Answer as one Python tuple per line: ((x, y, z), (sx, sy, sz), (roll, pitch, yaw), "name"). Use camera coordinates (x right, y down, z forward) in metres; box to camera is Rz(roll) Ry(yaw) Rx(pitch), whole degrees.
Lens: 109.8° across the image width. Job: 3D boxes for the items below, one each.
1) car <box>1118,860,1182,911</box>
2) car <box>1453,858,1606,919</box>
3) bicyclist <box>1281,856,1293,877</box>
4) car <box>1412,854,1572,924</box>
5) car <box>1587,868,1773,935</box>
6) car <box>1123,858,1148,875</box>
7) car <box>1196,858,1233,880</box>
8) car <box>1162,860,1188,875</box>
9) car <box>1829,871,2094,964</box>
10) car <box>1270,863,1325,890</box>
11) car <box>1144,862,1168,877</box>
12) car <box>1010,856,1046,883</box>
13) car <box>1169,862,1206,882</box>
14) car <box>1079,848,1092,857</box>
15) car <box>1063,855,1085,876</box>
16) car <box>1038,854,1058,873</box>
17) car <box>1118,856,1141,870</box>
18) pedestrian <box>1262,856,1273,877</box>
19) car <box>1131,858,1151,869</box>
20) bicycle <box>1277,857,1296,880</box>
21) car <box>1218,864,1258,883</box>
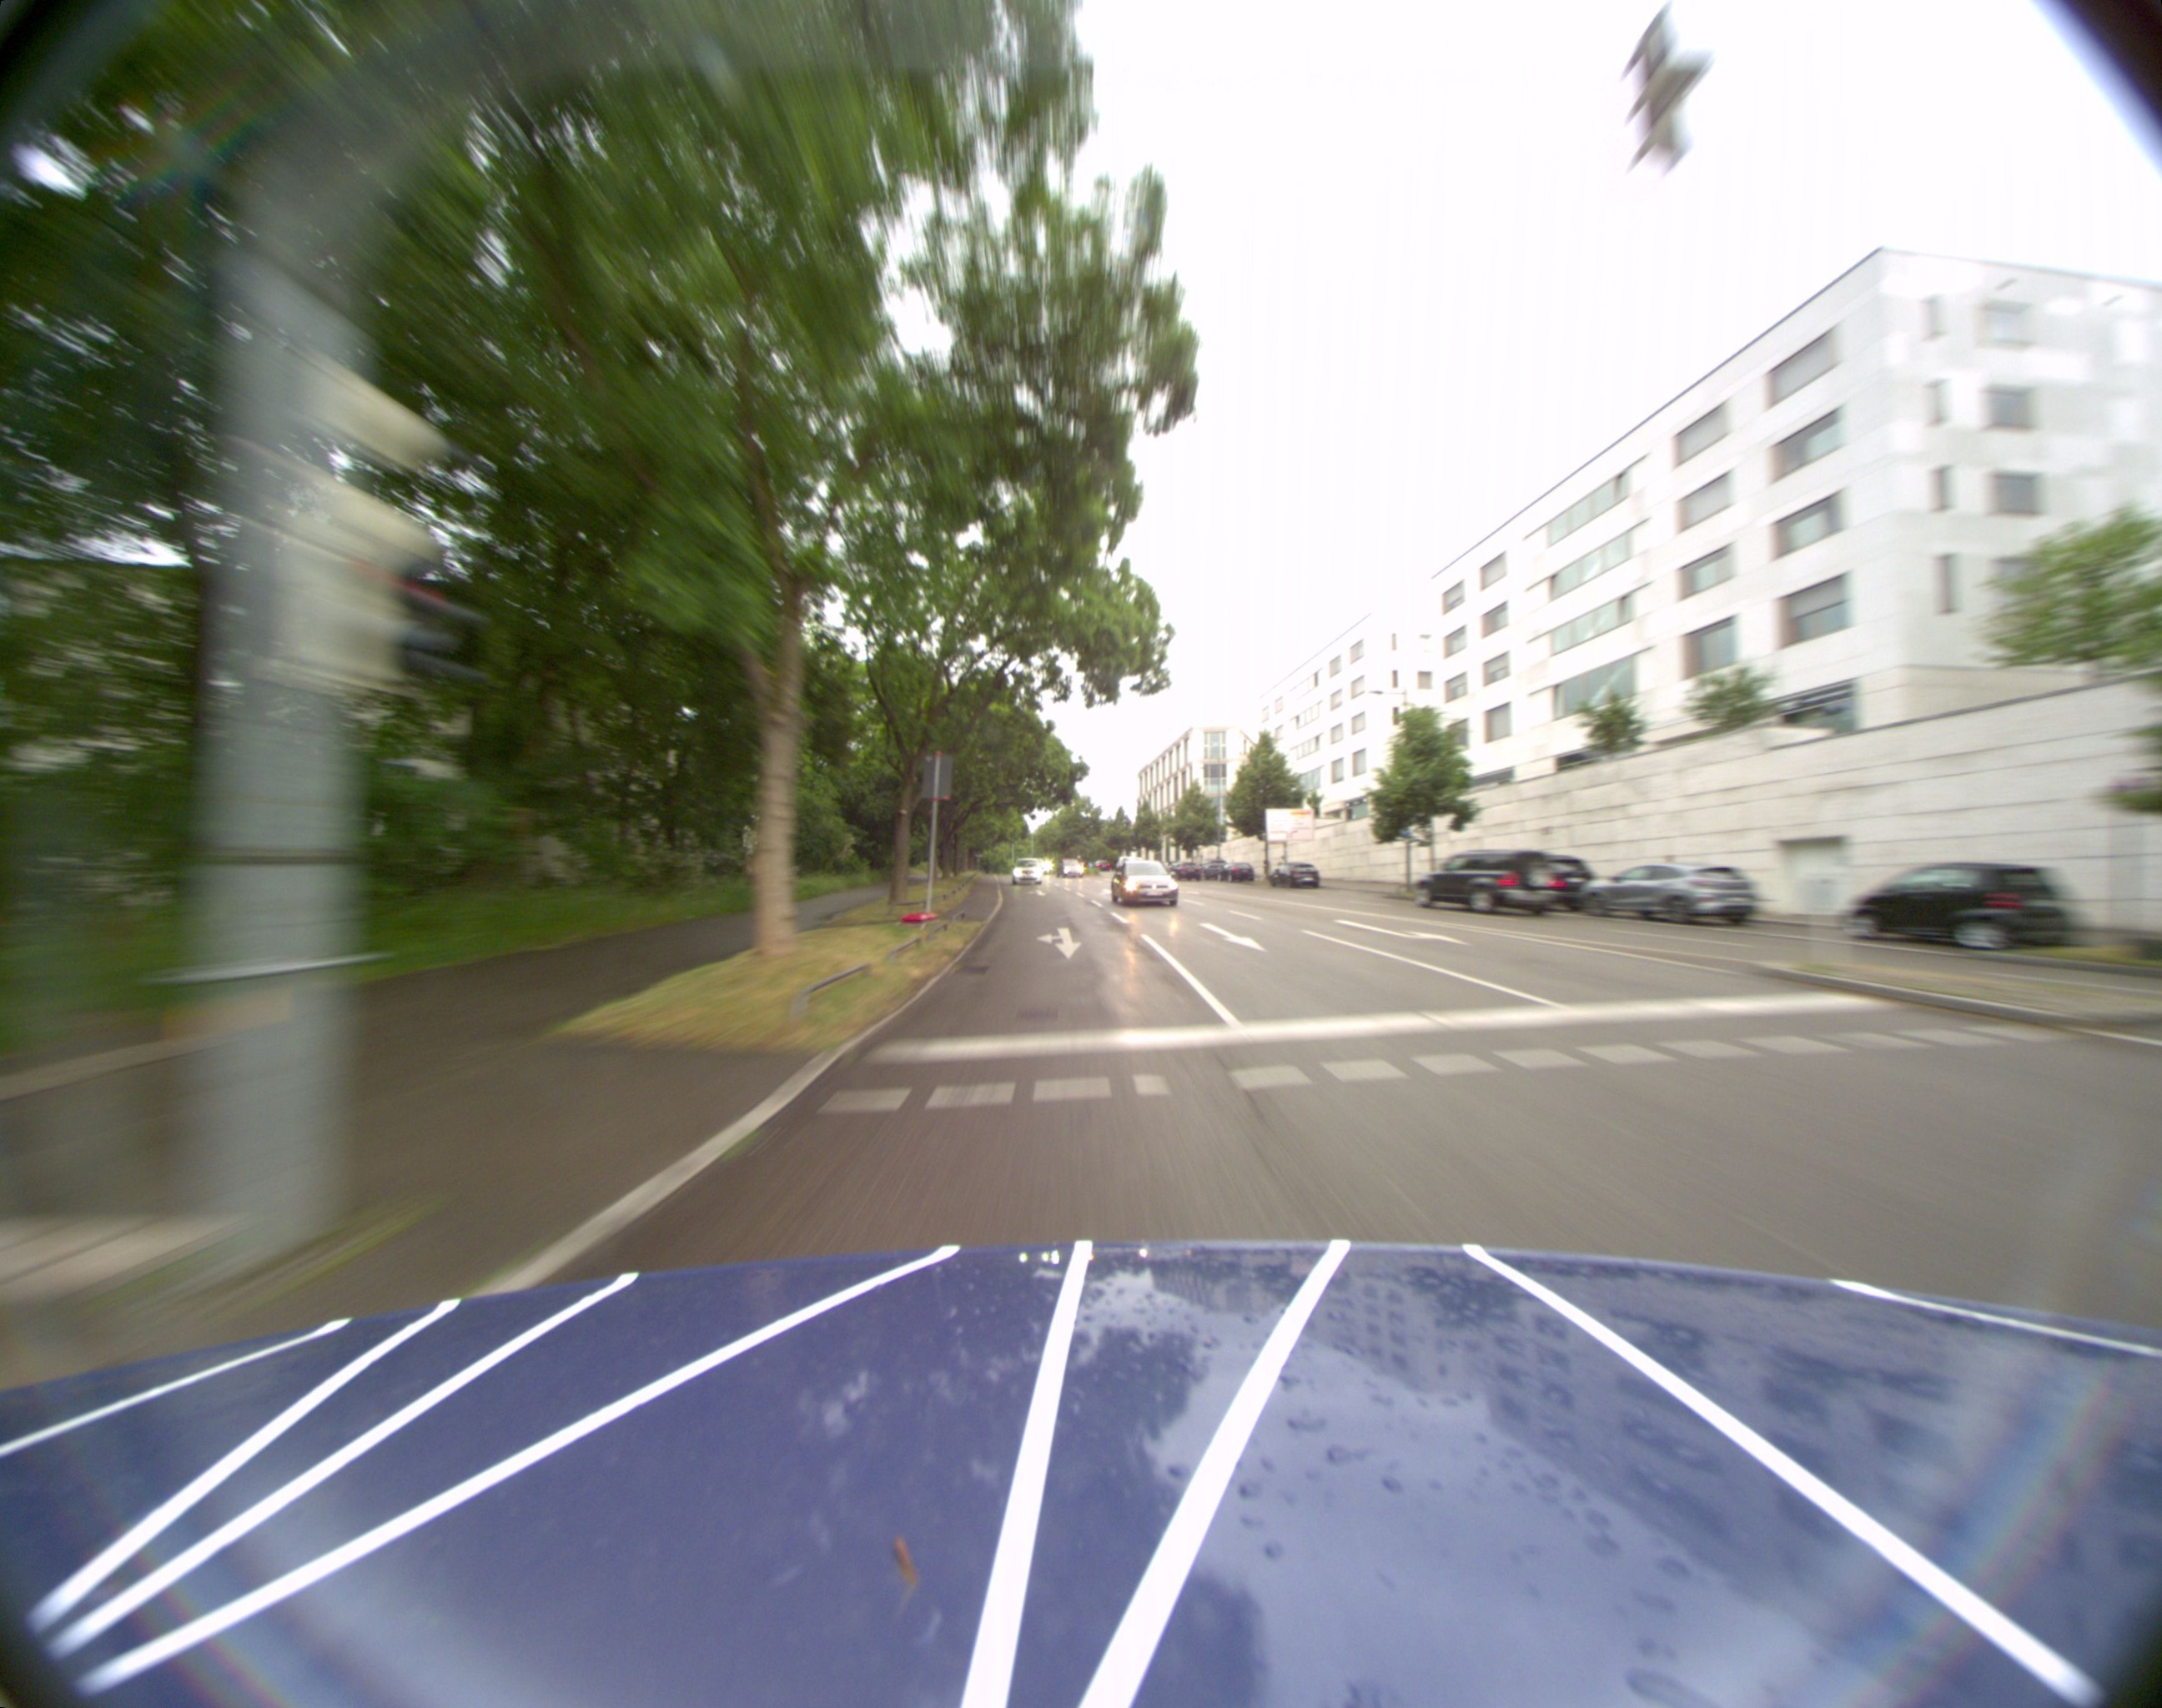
((2.235, 0.982, 25.518), (1.904, 1.431, 4.000), (-2, 1, 3), "car")
((14.516, 1.033, 24.950), (1.863, 1.770, 4.593), (-1, 0, -8), "car")
((15.063, 0.902, 55.648), (0.578, 1.509, 0.768), (0, 2, -6), "bicyclist")
((12.319, 0.976, 23.177), (1.927, 1.846, 4.503), (3, -1, -8), "car")
((15.394, 1.150, 19.795), (1.684, 1.506, 3.708), (-1, 0, -7), "car")
((5.763, 1.300, 80.567), (1.715, 1.736, 4.335), (3, -1, -7), "car")
((10.595, 1.148, 60.655), (1.708, 1.611, 4.359), (0, 0, -6), "car")
((9.225, 1.319, 74.609), (1.700, 1.436, 3.858), (-1, 0, -5), "car")
((16.564, 1.115, 14.500), (1.512, 1.506, 2.978), (-1, 0, -6), "car")
((12.444, 1.280, 43.887), (1.684, 1.418, 3.963), (-1, 0, -6), "car")
((8.074, 1.653, 82.082), (1.700, 1.572, 4.015), (0, 0, -6), "car")
((-3.249, 0.891, 46.159), (1.647, 1.512, 3.574), (0, 1, -12), "car")
((8.173, 1.357, 58.546), (1.776, 1.373, 4.187), (0, 0, -6), "car")
((0.737, -0.268, 129.946), (1.646, 1.402, 3.996), (1, -3, -7), "car")
((-0.612, 0.976, 61.809), (1.670, 1.520, 3.658), (-1, -3, -2), "car")
((-3.526, 0.963, 80.185), (1.999, 2.002, 3.998), (0, 0, -4), "car")
((6.385, 1.166, 100.546), (2.129, 1.805, 5.257), (0, -1, -8), "car")
((16.230, 1.091, 66.220), (0.720, 1.764, 0.691), (0, -1, -7), "pedestrian")
((7.353, 1.157, 92.945), (1.700, 1.376, 3.696), (-1, 0, -8), "car")
((15.084, 1.042, 55.807), (0.745, 1.648, 1.879), (-2, 2, -6), "bicycle")
((11.341, 1.382, 55.053), (1.700, 1.352, 4.161), (0, 0, -5), "car")
